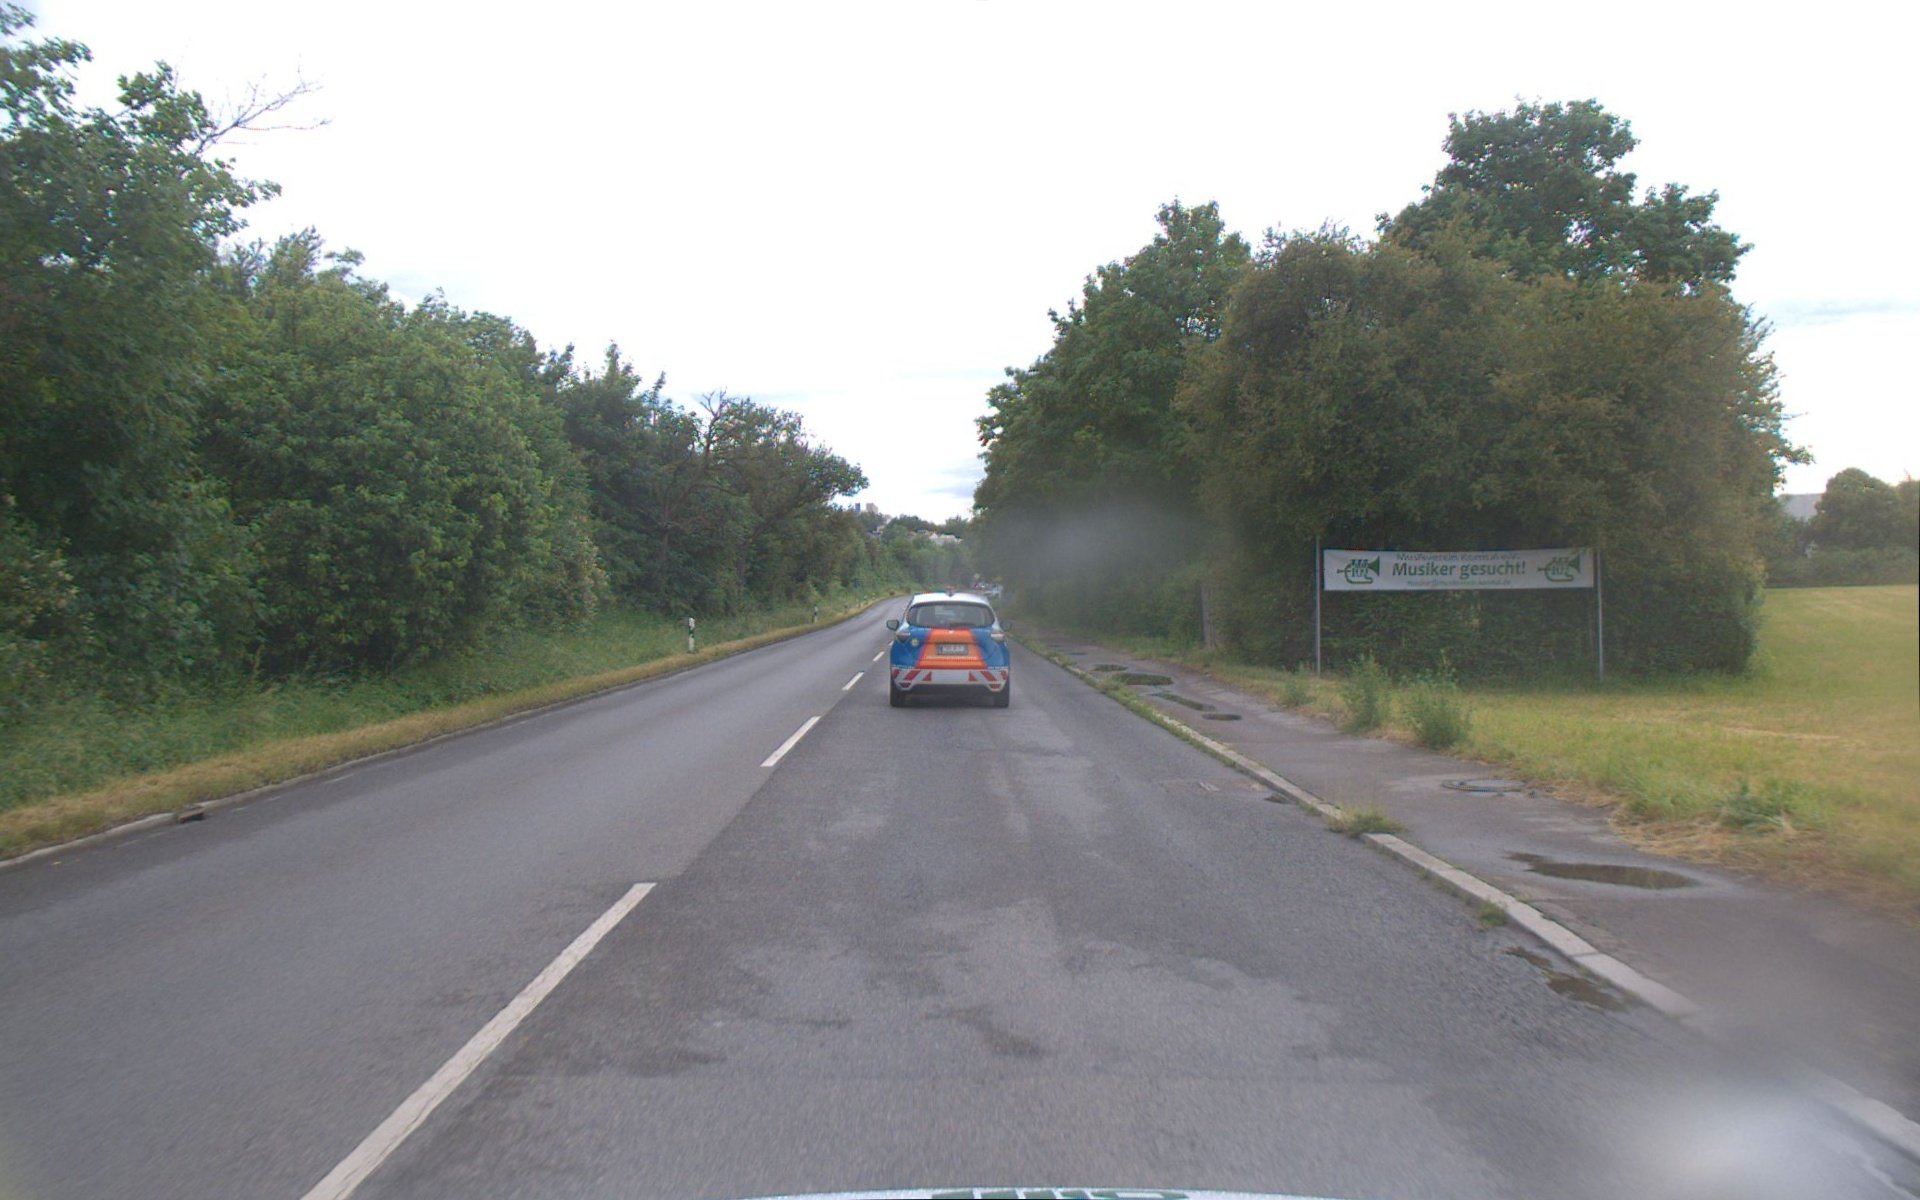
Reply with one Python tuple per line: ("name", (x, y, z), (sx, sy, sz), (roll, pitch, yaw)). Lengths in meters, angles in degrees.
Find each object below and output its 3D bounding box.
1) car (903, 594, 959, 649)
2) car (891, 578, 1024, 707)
("car", (-0.923, 0.664, 51.906), (1.659, 1.623, 3.855), (1, 0, -1))
("car", (-0.067, 0.582, 24.241), (1.769, 1.697, 3.855), (1, 0, -1))
